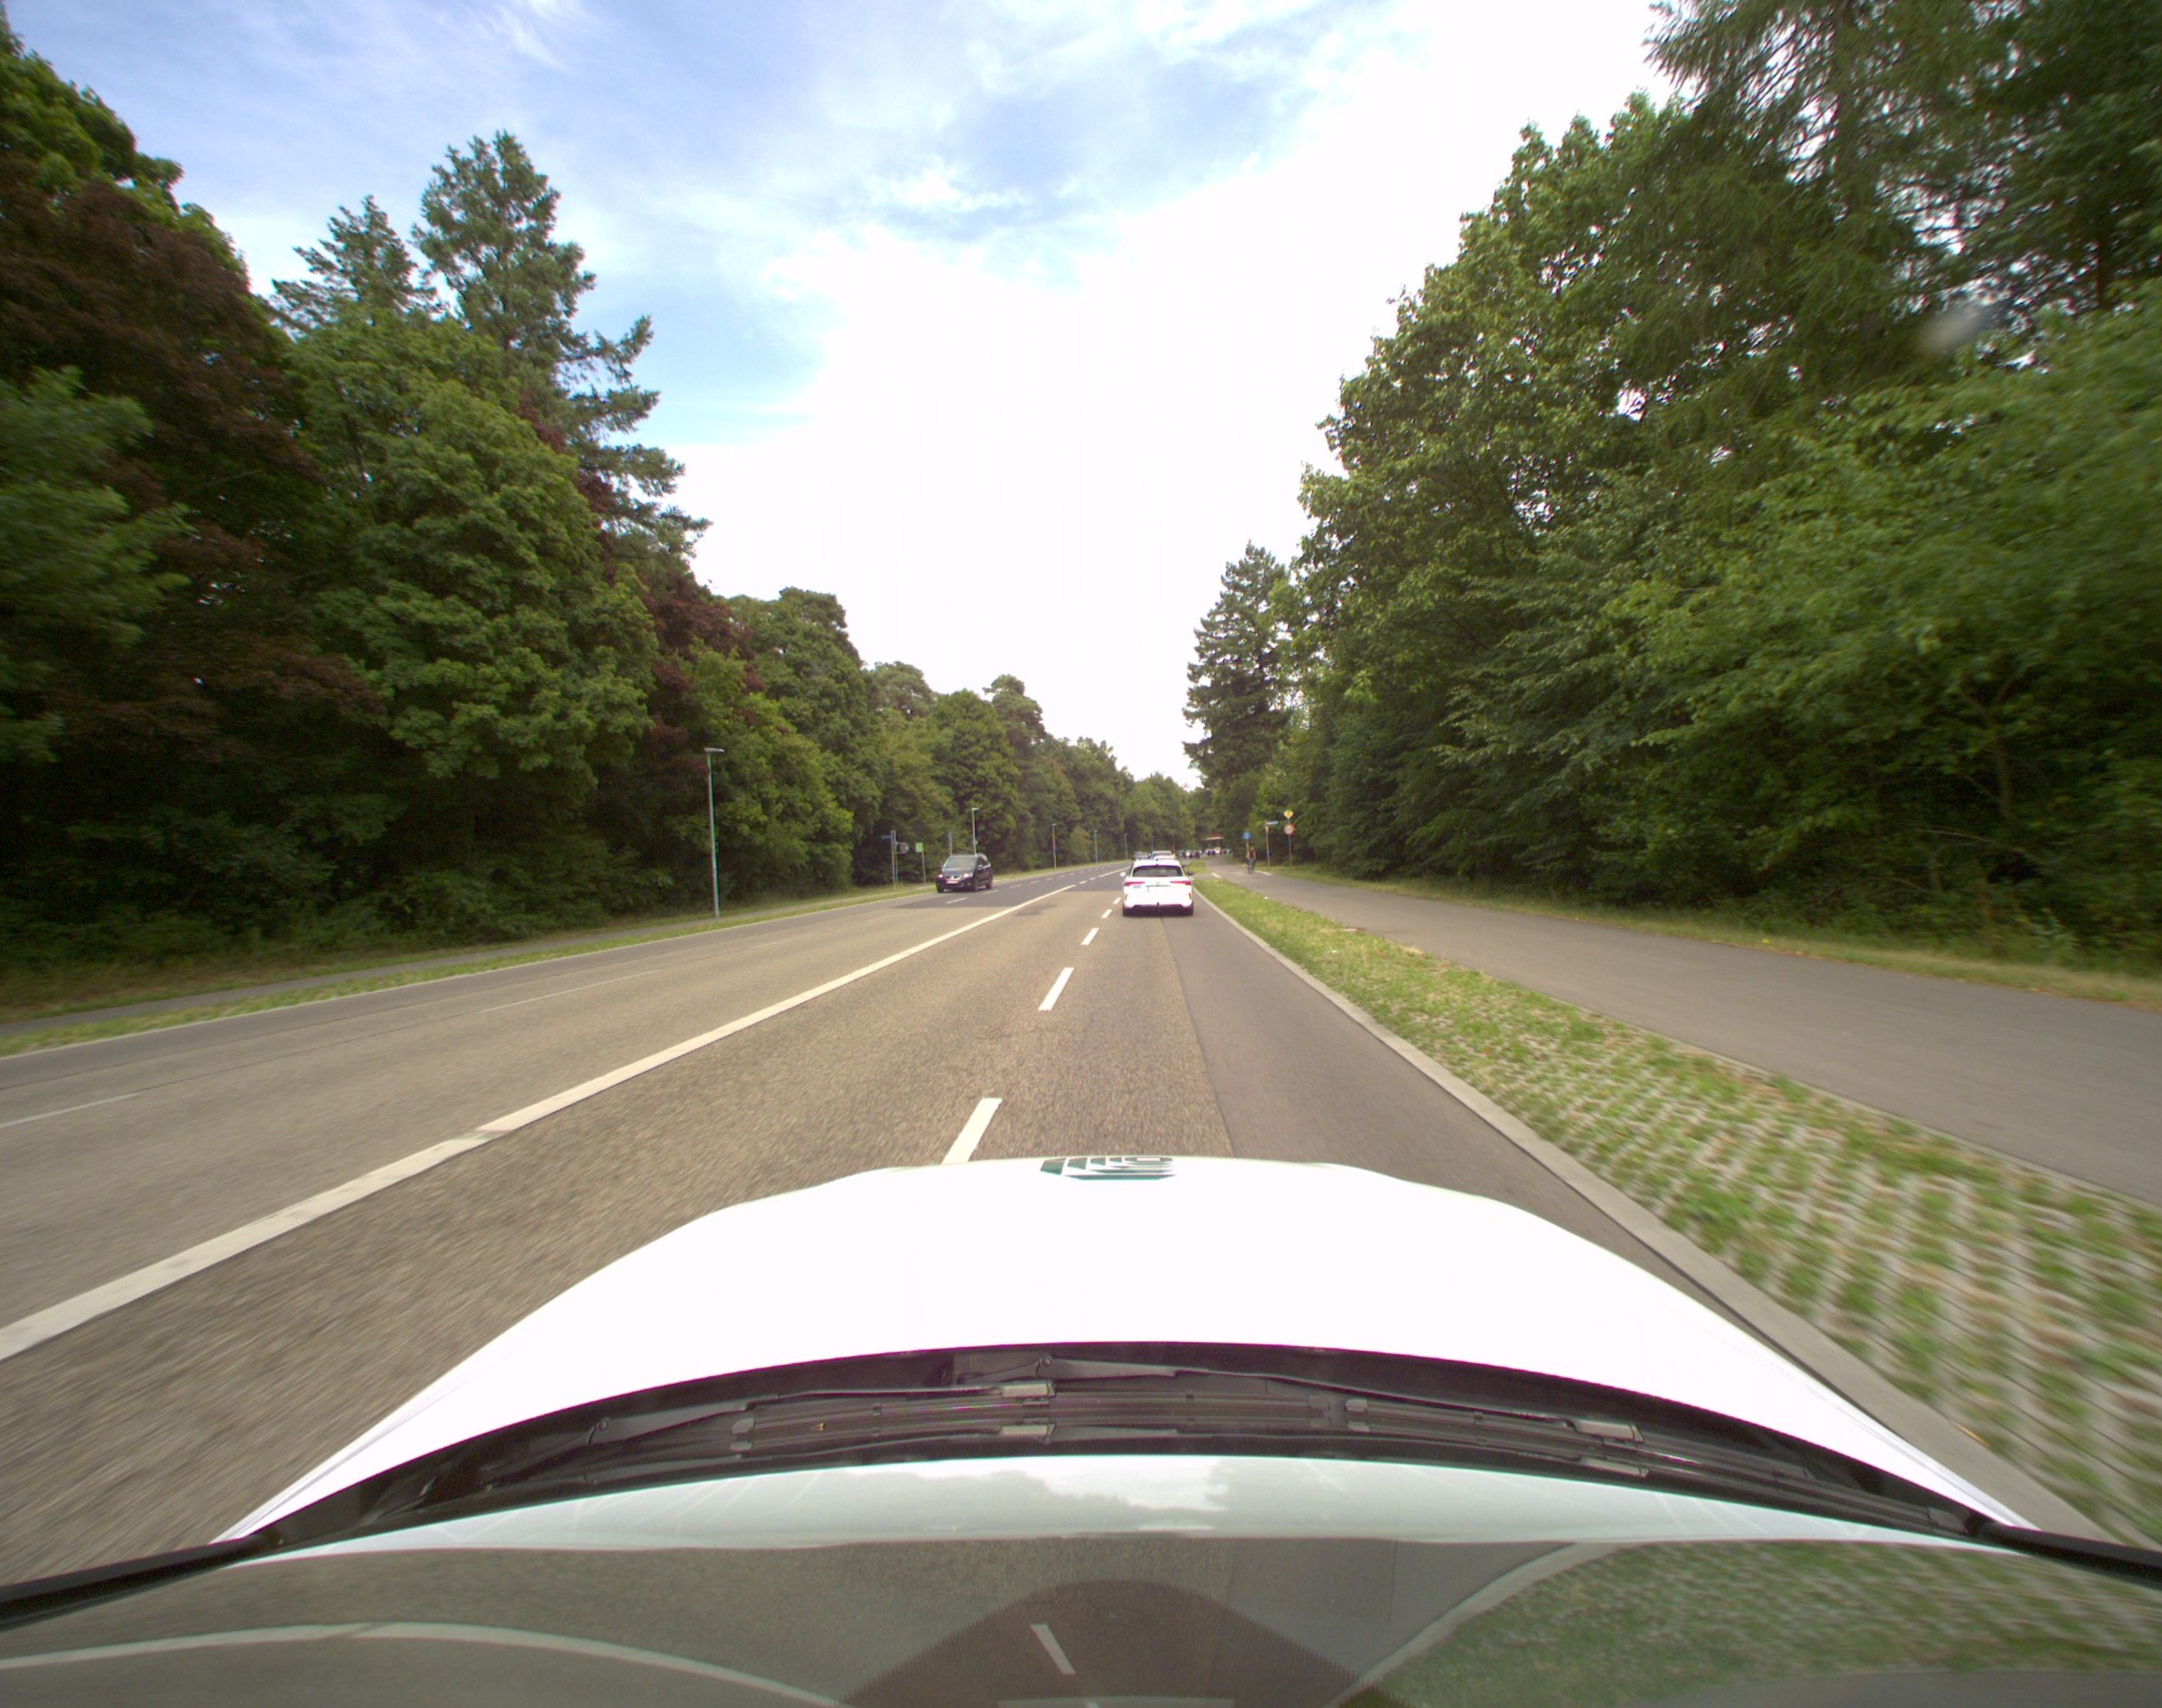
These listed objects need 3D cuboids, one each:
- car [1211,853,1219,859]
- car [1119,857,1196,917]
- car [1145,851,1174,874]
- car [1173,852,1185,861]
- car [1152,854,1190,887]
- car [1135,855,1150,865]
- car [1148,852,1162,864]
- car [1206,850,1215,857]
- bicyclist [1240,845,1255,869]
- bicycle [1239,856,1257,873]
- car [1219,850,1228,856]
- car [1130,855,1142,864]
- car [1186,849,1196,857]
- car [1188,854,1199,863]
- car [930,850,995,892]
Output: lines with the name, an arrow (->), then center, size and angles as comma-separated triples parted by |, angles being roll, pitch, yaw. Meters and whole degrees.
car -> 40.820, 0.600, 247.310 | 1.873, 1.816, 4.018 | 0, -1, 17
car -> 2.071, 0.812, 21.687 | 1.827, 1.410, 4.498 | 0, -1, 6
car -> 5.670, 0.627, 58.767 | 1.984, 1.607, 4.006 | 0, -1, 6
car -> 19.668, 0.508, 163.132 | 1.981, 1.783, 4.012 | 0, -1, 11
car -> 4.122, 0.750, 37.055 | 1.626, 1.420, 4.008 | 0, -1, 7
car -> 9.636, 0.906, 127.414 | 1.981, 1.435, 4.733 | -1, -1, 10
car -> 10.363, 0.617, 113.706 | 1.720, 1.587, 4.008 | 0, -1, 7
car -> 32.302, -0.152, 202.885 | 1.980, 1.783, 4.014 | 0, -1, 13
bicyclist -> 10.441, 0.200, 50.996 | 0.702, 1.470, 0.906 | -2, -1, 22
bicycle -> 10.442, 0.654, 50.973 | 0.702, 0.994, 2.193 | -2, -1, 21
car -> 40.681, -0.236, 232.442 | 1.978, 1.706, 4.017 | -2, 0, 15
car -> 9.935, 1.003, 146.973 | 1.912, 1.655, 4.478 | -1, -1, 8
car -> 24.367, -0.273, 180.597 | 1.980, 1.783, 4.013 | 0, -1, 12
car -> 21.552, 0.834, 155.913 | 1.981, 1.783, 4.012 | 0, -1, 11
car -> -5.433, 0.775, 37.881 | 1.984, 1.791, 4.753 | 0, -1, 4
